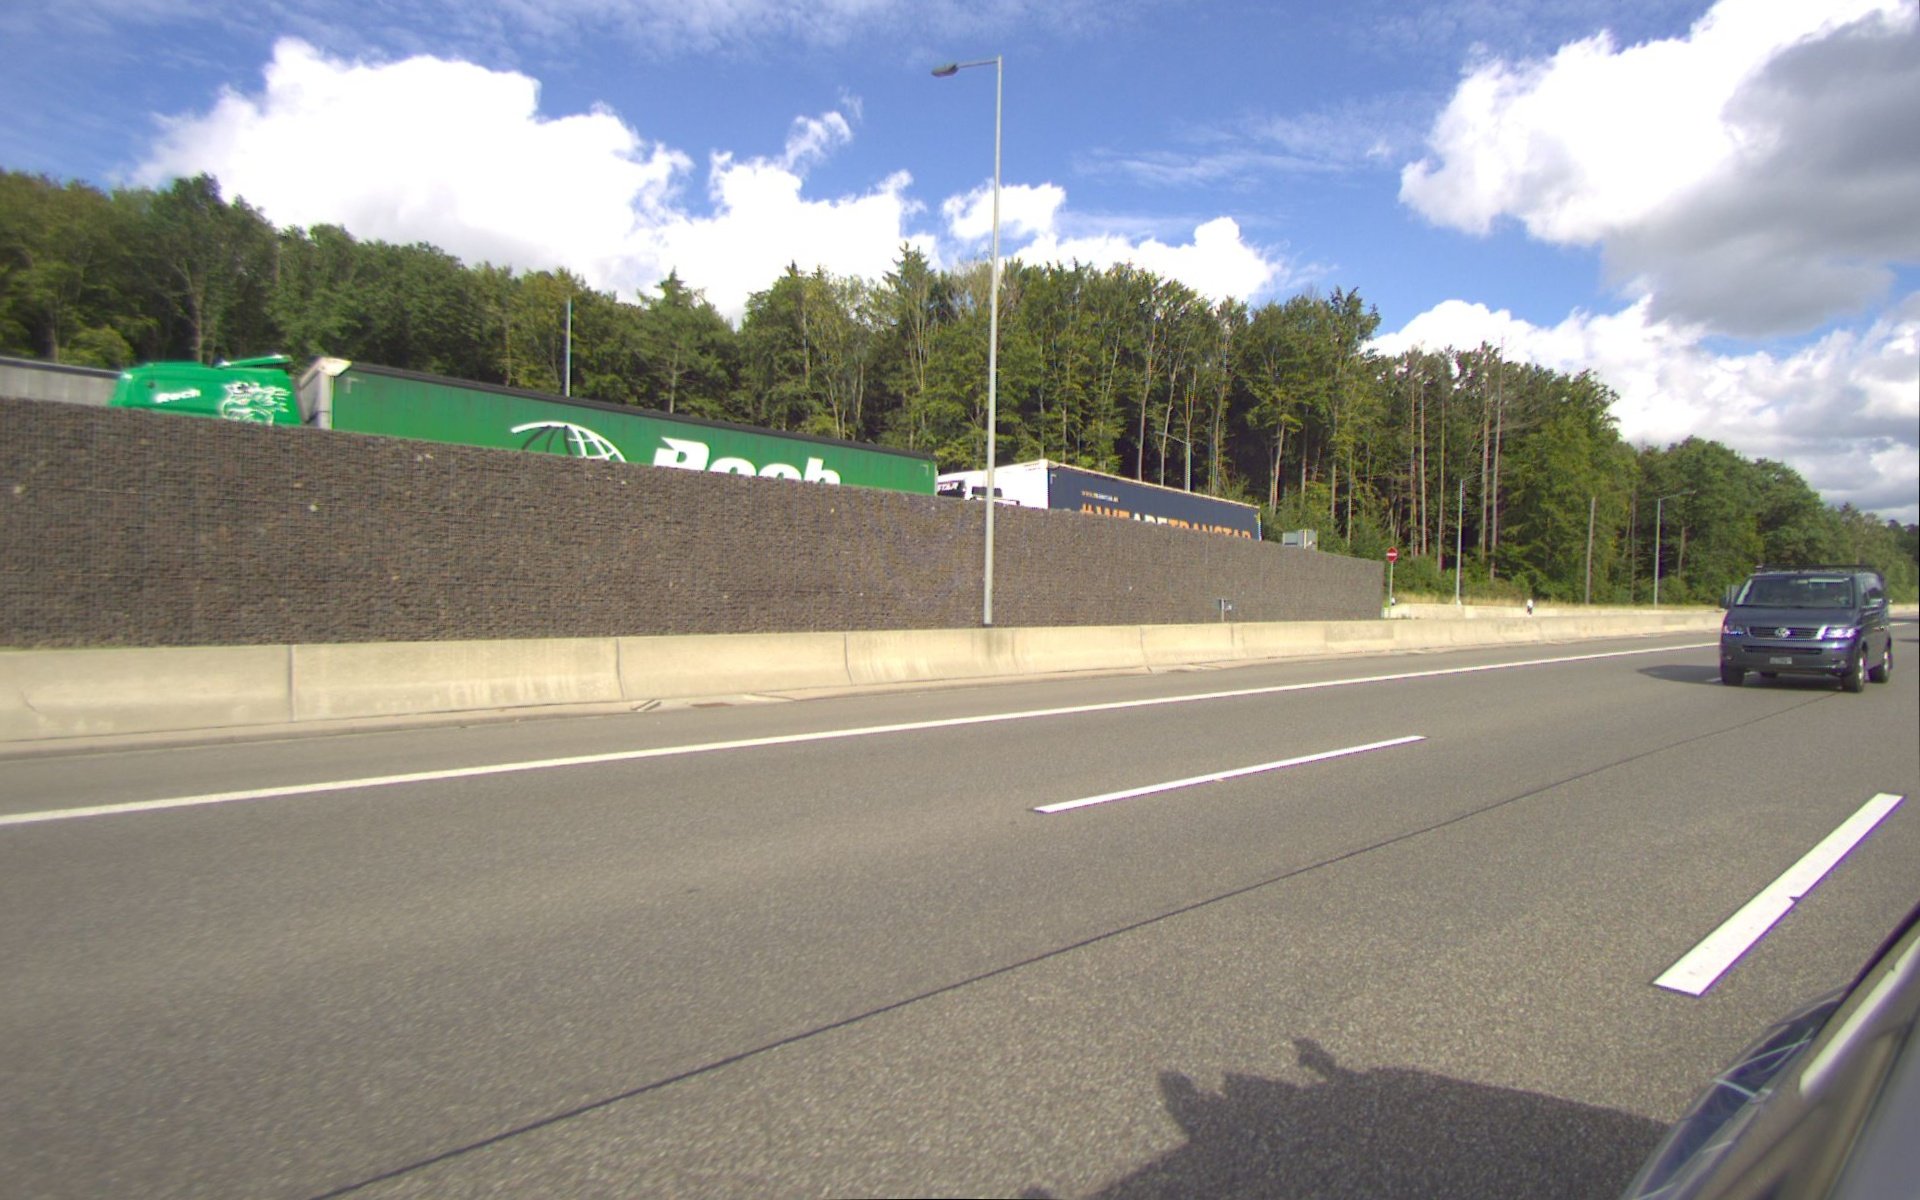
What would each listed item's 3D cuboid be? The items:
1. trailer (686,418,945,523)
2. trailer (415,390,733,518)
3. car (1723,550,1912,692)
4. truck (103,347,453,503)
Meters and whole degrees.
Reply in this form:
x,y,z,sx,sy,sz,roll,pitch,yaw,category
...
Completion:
x,y,z,sx,sy,sz,roll,pitch,yaw,category
-3.327,-2.990,24.437,6.087,2.038,1.997,-3,2,-41,trailer
-7.664,-2.803,20.561,5.677,2.038,1.997,-3,2,-41,trailer
15.343,0.274,18.015,4.876,2.192,1.925,-1,1,-42,car
-11.484,-2.800,17.264,4.697,2.038,2.049,-3,2,-40,truck
